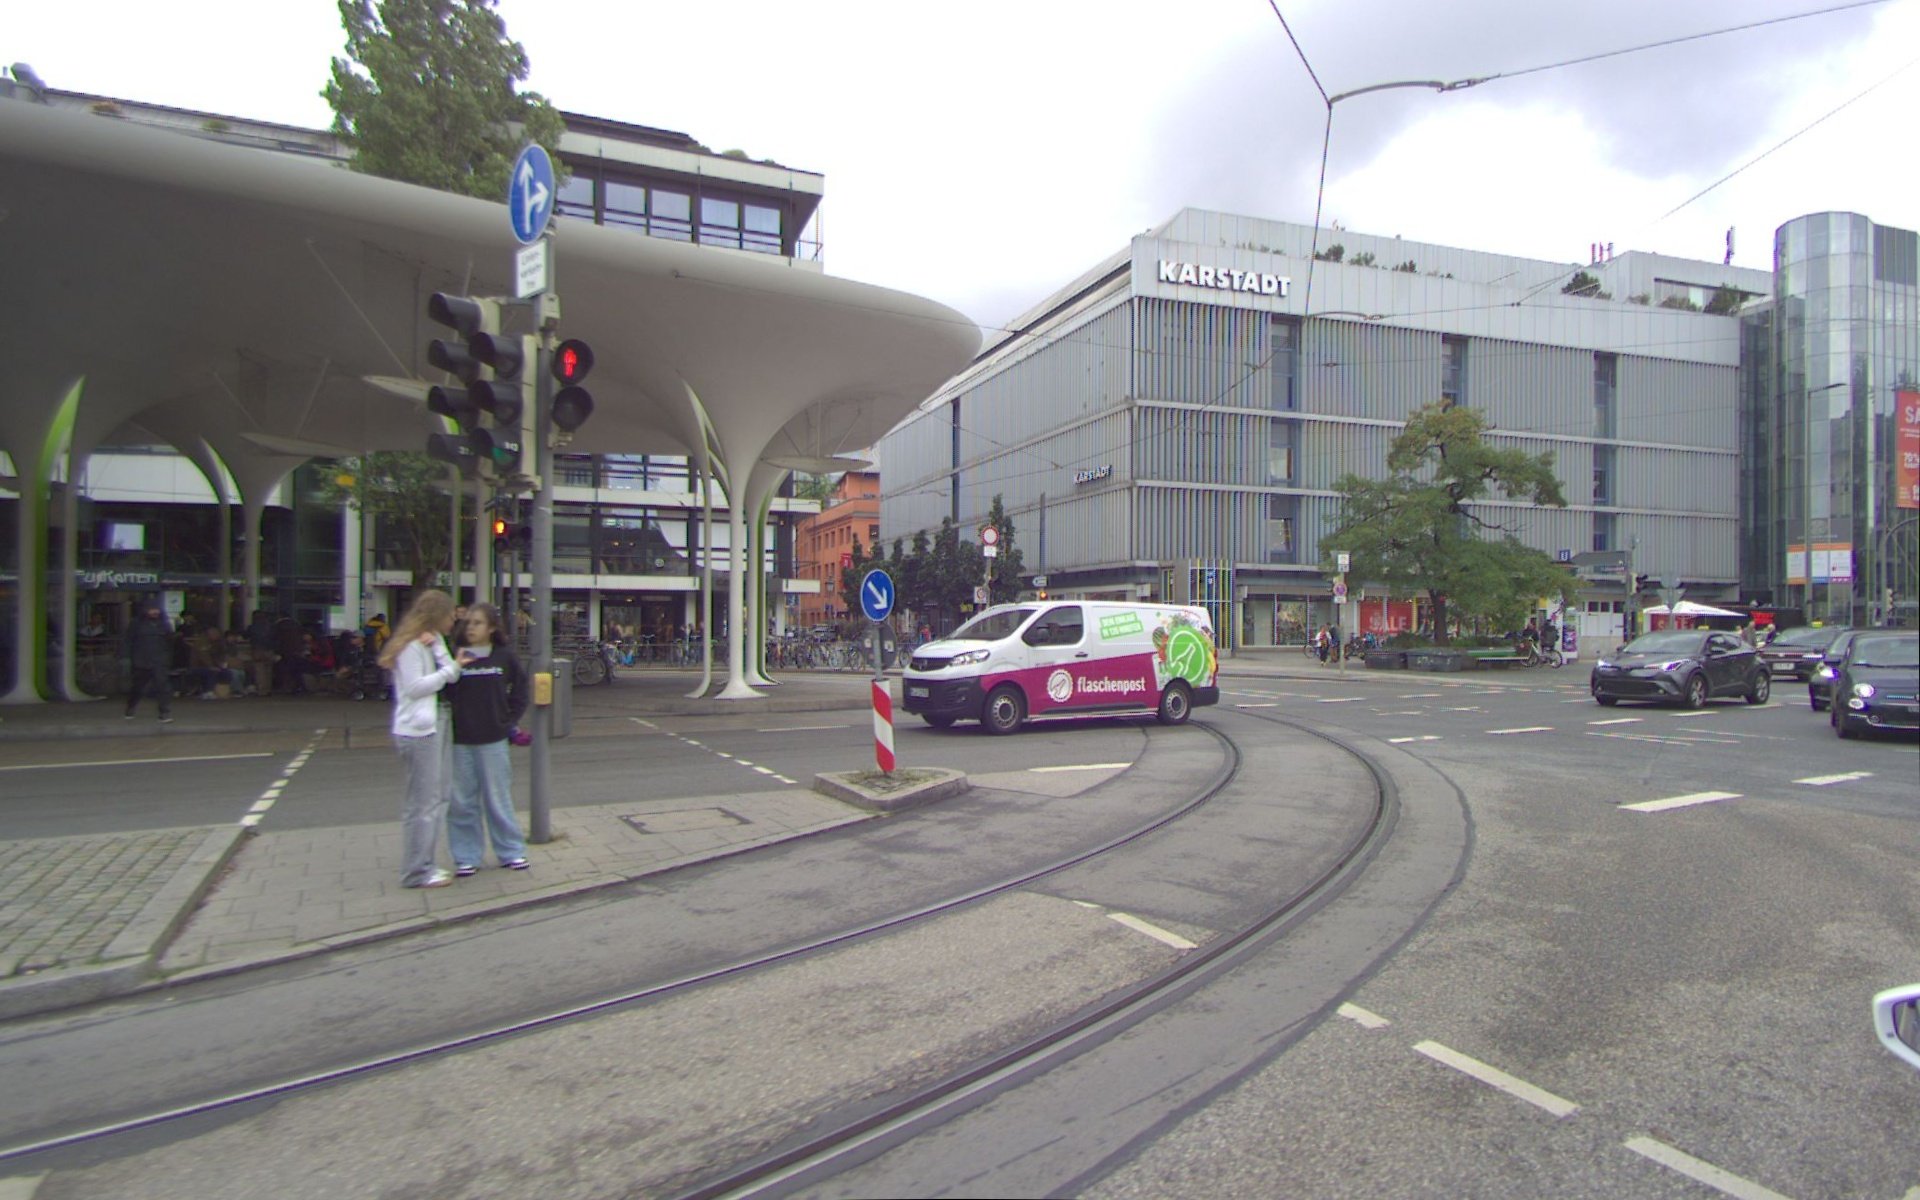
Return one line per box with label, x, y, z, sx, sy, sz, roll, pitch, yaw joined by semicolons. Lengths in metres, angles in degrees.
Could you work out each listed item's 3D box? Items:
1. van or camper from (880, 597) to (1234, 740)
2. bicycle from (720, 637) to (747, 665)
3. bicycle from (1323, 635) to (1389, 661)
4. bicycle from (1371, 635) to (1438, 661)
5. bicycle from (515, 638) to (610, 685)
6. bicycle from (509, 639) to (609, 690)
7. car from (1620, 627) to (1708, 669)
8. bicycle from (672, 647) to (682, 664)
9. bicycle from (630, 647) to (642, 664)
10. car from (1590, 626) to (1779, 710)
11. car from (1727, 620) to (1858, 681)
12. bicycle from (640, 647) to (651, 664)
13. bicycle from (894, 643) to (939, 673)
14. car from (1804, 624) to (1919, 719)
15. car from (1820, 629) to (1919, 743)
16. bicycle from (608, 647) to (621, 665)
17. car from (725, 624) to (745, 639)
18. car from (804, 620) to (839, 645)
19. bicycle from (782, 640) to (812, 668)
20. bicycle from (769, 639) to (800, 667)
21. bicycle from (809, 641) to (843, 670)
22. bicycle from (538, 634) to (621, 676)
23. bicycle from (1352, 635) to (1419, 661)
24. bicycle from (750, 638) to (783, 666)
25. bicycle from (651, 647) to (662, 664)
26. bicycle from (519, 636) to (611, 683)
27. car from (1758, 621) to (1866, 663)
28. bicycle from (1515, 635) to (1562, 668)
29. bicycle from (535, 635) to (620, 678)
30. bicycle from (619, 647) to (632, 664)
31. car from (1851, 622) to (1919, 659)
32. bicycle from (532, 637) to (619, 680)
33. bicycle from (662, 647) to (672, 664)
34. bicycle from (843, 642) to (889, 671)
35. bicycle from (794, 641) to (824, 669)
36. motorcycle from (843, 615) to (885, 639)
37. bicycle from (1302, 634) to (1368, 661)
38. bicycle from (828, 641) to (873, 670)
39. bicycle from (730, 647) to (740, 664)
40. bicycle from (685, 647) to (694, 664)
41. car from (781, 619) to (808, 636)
van or camper;1.605;0.956;15.317;5.382;1.850;1.917;1;-1;-33
bicycle;-8.142;1.830;36.165;0.446;0.952;1.732;1;-2;4
bicycle;18.928;2.267;48.132;1.042;1.172;3.493;1;-1;-17
bicycle;21.838;2.340;49.477;1.042;1.172;3.493;1;-1;-17
bicycle;-9.807;1.507;24.870;2.149;1.133;0.652;1;-1;-20
bicycle;-9.359;1.499;23.527;2.133;1.139;0.640;1;-1;-21
car;28.242;1.884;40.247;4.382;1.556;1.975;1;-2;-43
bicycle;-11.366;2.229;40.411;0.357;0.641;1.630;0;-1;-15
bicycle;-12.855;2.197;39.876;0.357;0.641;1.630;0;-1;-15
car;14.711;1.319;20.344;4.234;1.528;1.655;1;-1;-32
car;24.962;1.478;30.085;3.953;1.684;1.774;1;-1;-30
bicycle;-12.504;2.204;39.982;0.357;0.641;1.630;0;-1;-15
bicycle;-1.435;1.909;33.309;0.448;0.952;1.723;-1;-3;39
car;16.431;1.215;17.973;2.813;1.555;1.492;0;-2;-39
car;13.444;1.154;14.359;1.526;1.465;3.526;-1;-2;37
bicycle;-13.561;2.183;39.446;0.357;0.641;1.630;0;-1;-15
car;-29.142;4.060;130.165;1.932;1.884;3.981;1;-1;-21
car;-11.881;2.774;85.922;2.142;2.087;3.981;1;-1;-21
bicycle;-5.783;1.895;35.676;0.446;0.952;1.732;1;-2;12
bicycle;-6.262;1.880;35.917;0.446;0.952;1.732;1;-2;12
bicycle;-4.675;1.929;35.128;0.446;0.952;1.731;0;-2;20
bicycle;-10.685;1.534;28.252;2.149;1.133;0.652;1;-1;-20
bicycle;20.574;2.302;48.672;1.042;1.172;3.493;1;-1;-17
bicycle;-6.937;1.861;36.071;0.446;0.952;1.732;1;-2;14
bicycle;-12.110;2.213;40.130;0.357;0.641;1.630;0;-1;-15
bicycle;-10.006;1.495;25.524;2.149;1.133;0.652;1;-1;-20
car;33.833;1.637;39.885;4.340;1.563;1.892;1;-1;-30
bicycle;21.184;1.882;36.832;0.368;1.126;1.569;1;-1;-25
bicycle;-10.501;1.546;27.615;2.149;1.133;0.652;1;-1;-20
bicycle;-13.224;2.189;39.711;0.357;0.641;1.630;0;-1;-15
car;40.808;1.724;43.091;4.565;1.528;1.991;1;-1;-21
bicycle;-10.300;1.558;26.974;2.149;1.133;0.652;1;-1;-20
bicycle;-11.725;2.222;40.218;0.357;0.641;1.630;0;-1;-15
bicycle;-3.199;1.920;34.396;0.448;0.952;1.723;-1;-3;40
bicycle;-5.292;1.911;35.303;0.446;0.952;1.732;1;-2;12
motorcycle;-9.069;2.543;94.816;3.860;2.189;1.173;0;-1;-7
bicycle;17.772;2.241;47.748;1.042;1.172;3.493;1;-1;-17
bicycle;-3.752;1.905;34.431;0.448;0.952;1.724;0;-3;38
bicycle;-9.231;2.274;41.206;0.357;0.641;1.630;0;-1;-15
bicycle;-10.907;2.239;40.553;0.357;0.641;1.630;0;-1;-15
car;-16.628;2.755;100.701;1.970;1.684;3.982;1;-1;-20
